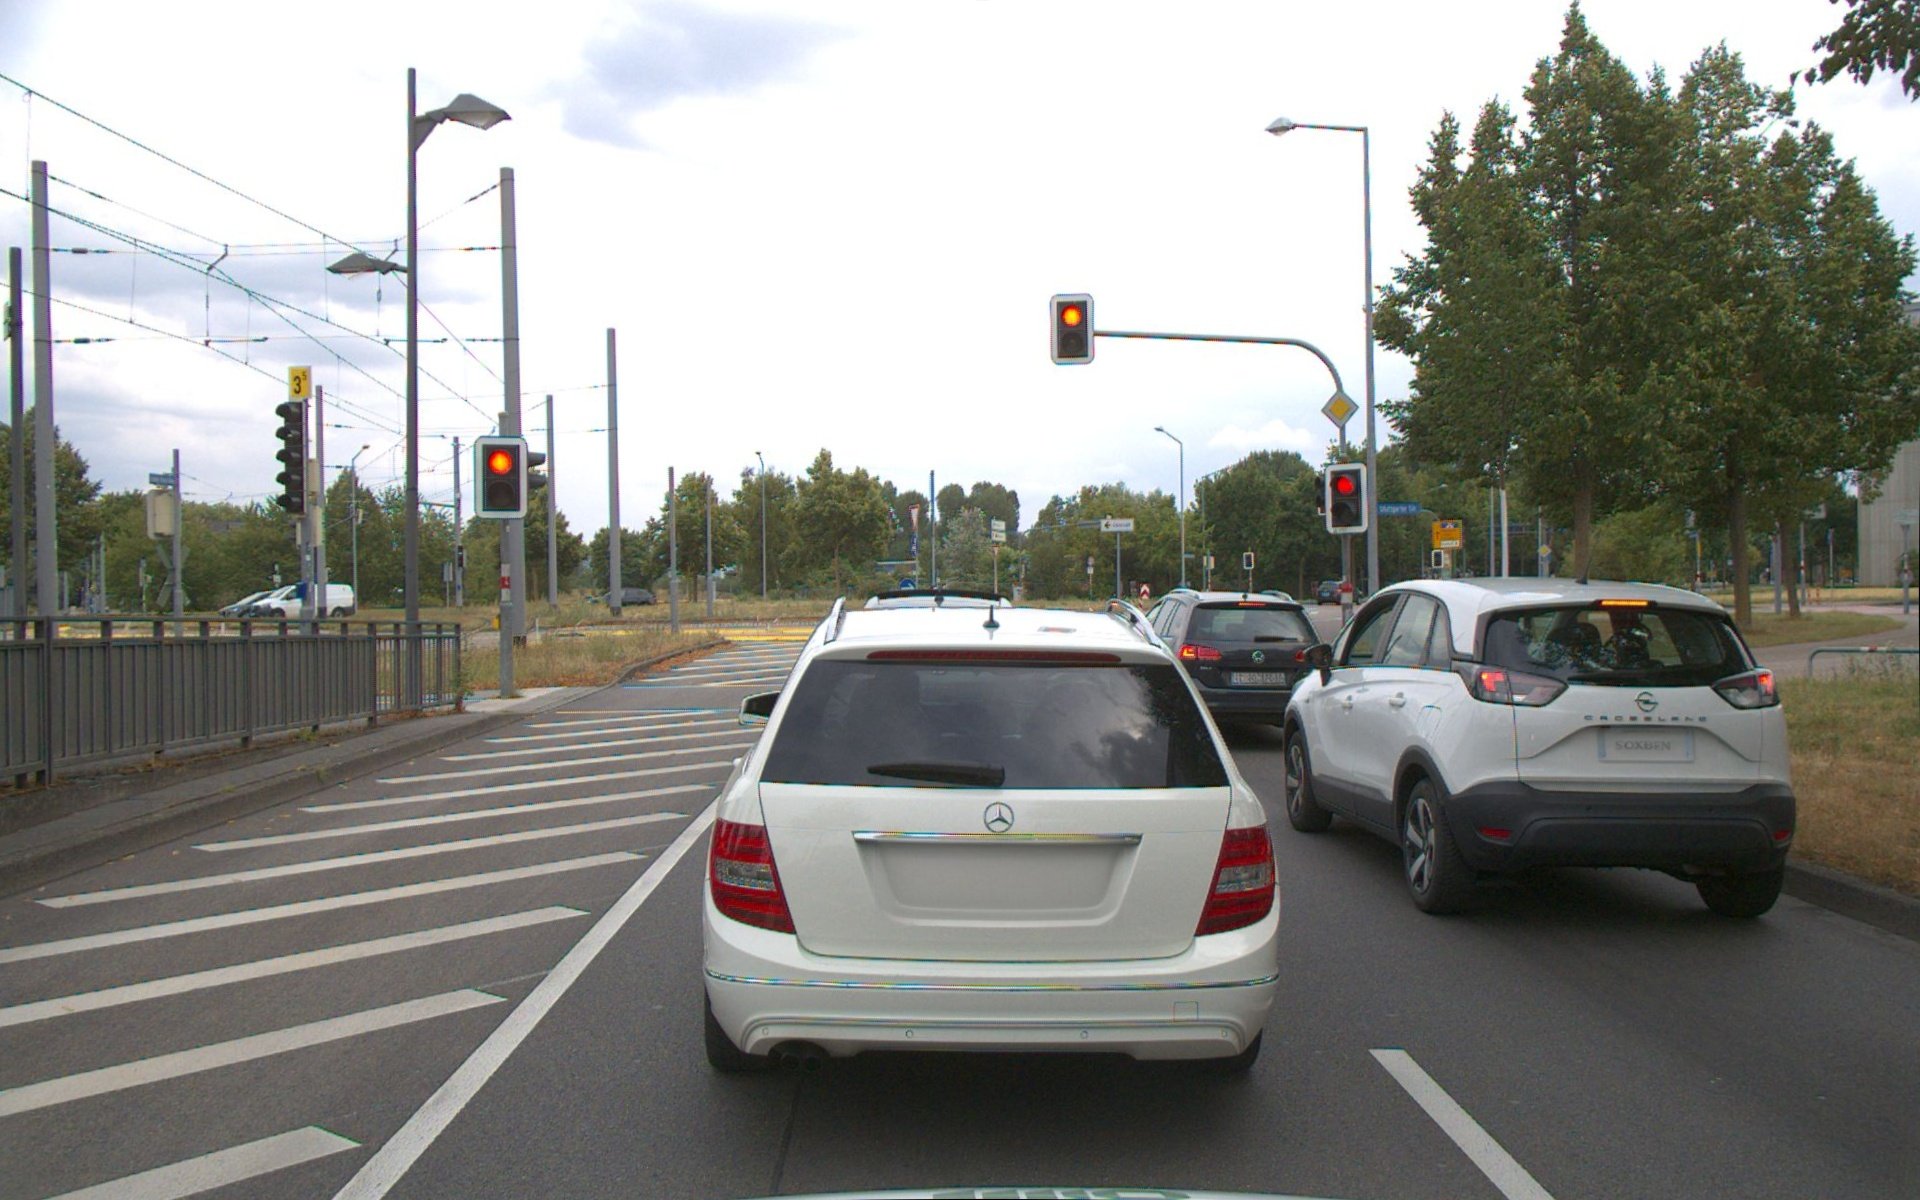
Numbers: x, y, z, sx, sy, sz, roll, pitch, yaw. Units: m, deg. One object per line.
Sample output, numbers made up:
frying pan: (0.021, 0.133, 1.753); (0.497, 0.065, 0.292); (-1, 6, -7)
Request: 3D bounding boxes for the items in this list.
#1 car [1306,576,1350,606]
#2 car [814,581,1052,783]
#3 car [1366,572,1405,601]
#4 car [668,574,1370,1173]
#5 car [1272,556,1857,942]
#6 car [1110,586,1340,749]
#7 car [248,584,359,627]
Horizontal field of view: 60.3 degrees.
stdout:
car: (23.552, -0.579, 105.693); (1.954, 1.822, 3.998); (2, 0, 24)
car: (-0.283, 0.587, 14.136); (1.738, 1.474, 3.908); (1, 0, -3)
car: (25.020, -0.815, 97.314); (1.745, 1.664, 4.406); (-1, 1, 9)
car: (0.068, 0.664, 6.068); (1.738, 1.474, 3.908); (1, 0, -3)
car: (3.002, 0.627, 9.144); (1.751, 1.653, 3.910); (-1, 1, -1)
car: (2.619, 0.608, 17.172); (1.592, 1.474, 3.908); (1, 0, -3)
car: (-33.593, 0.259, 84.705); (4.963, 2.049, 1.967); (-1, 1, -45)
